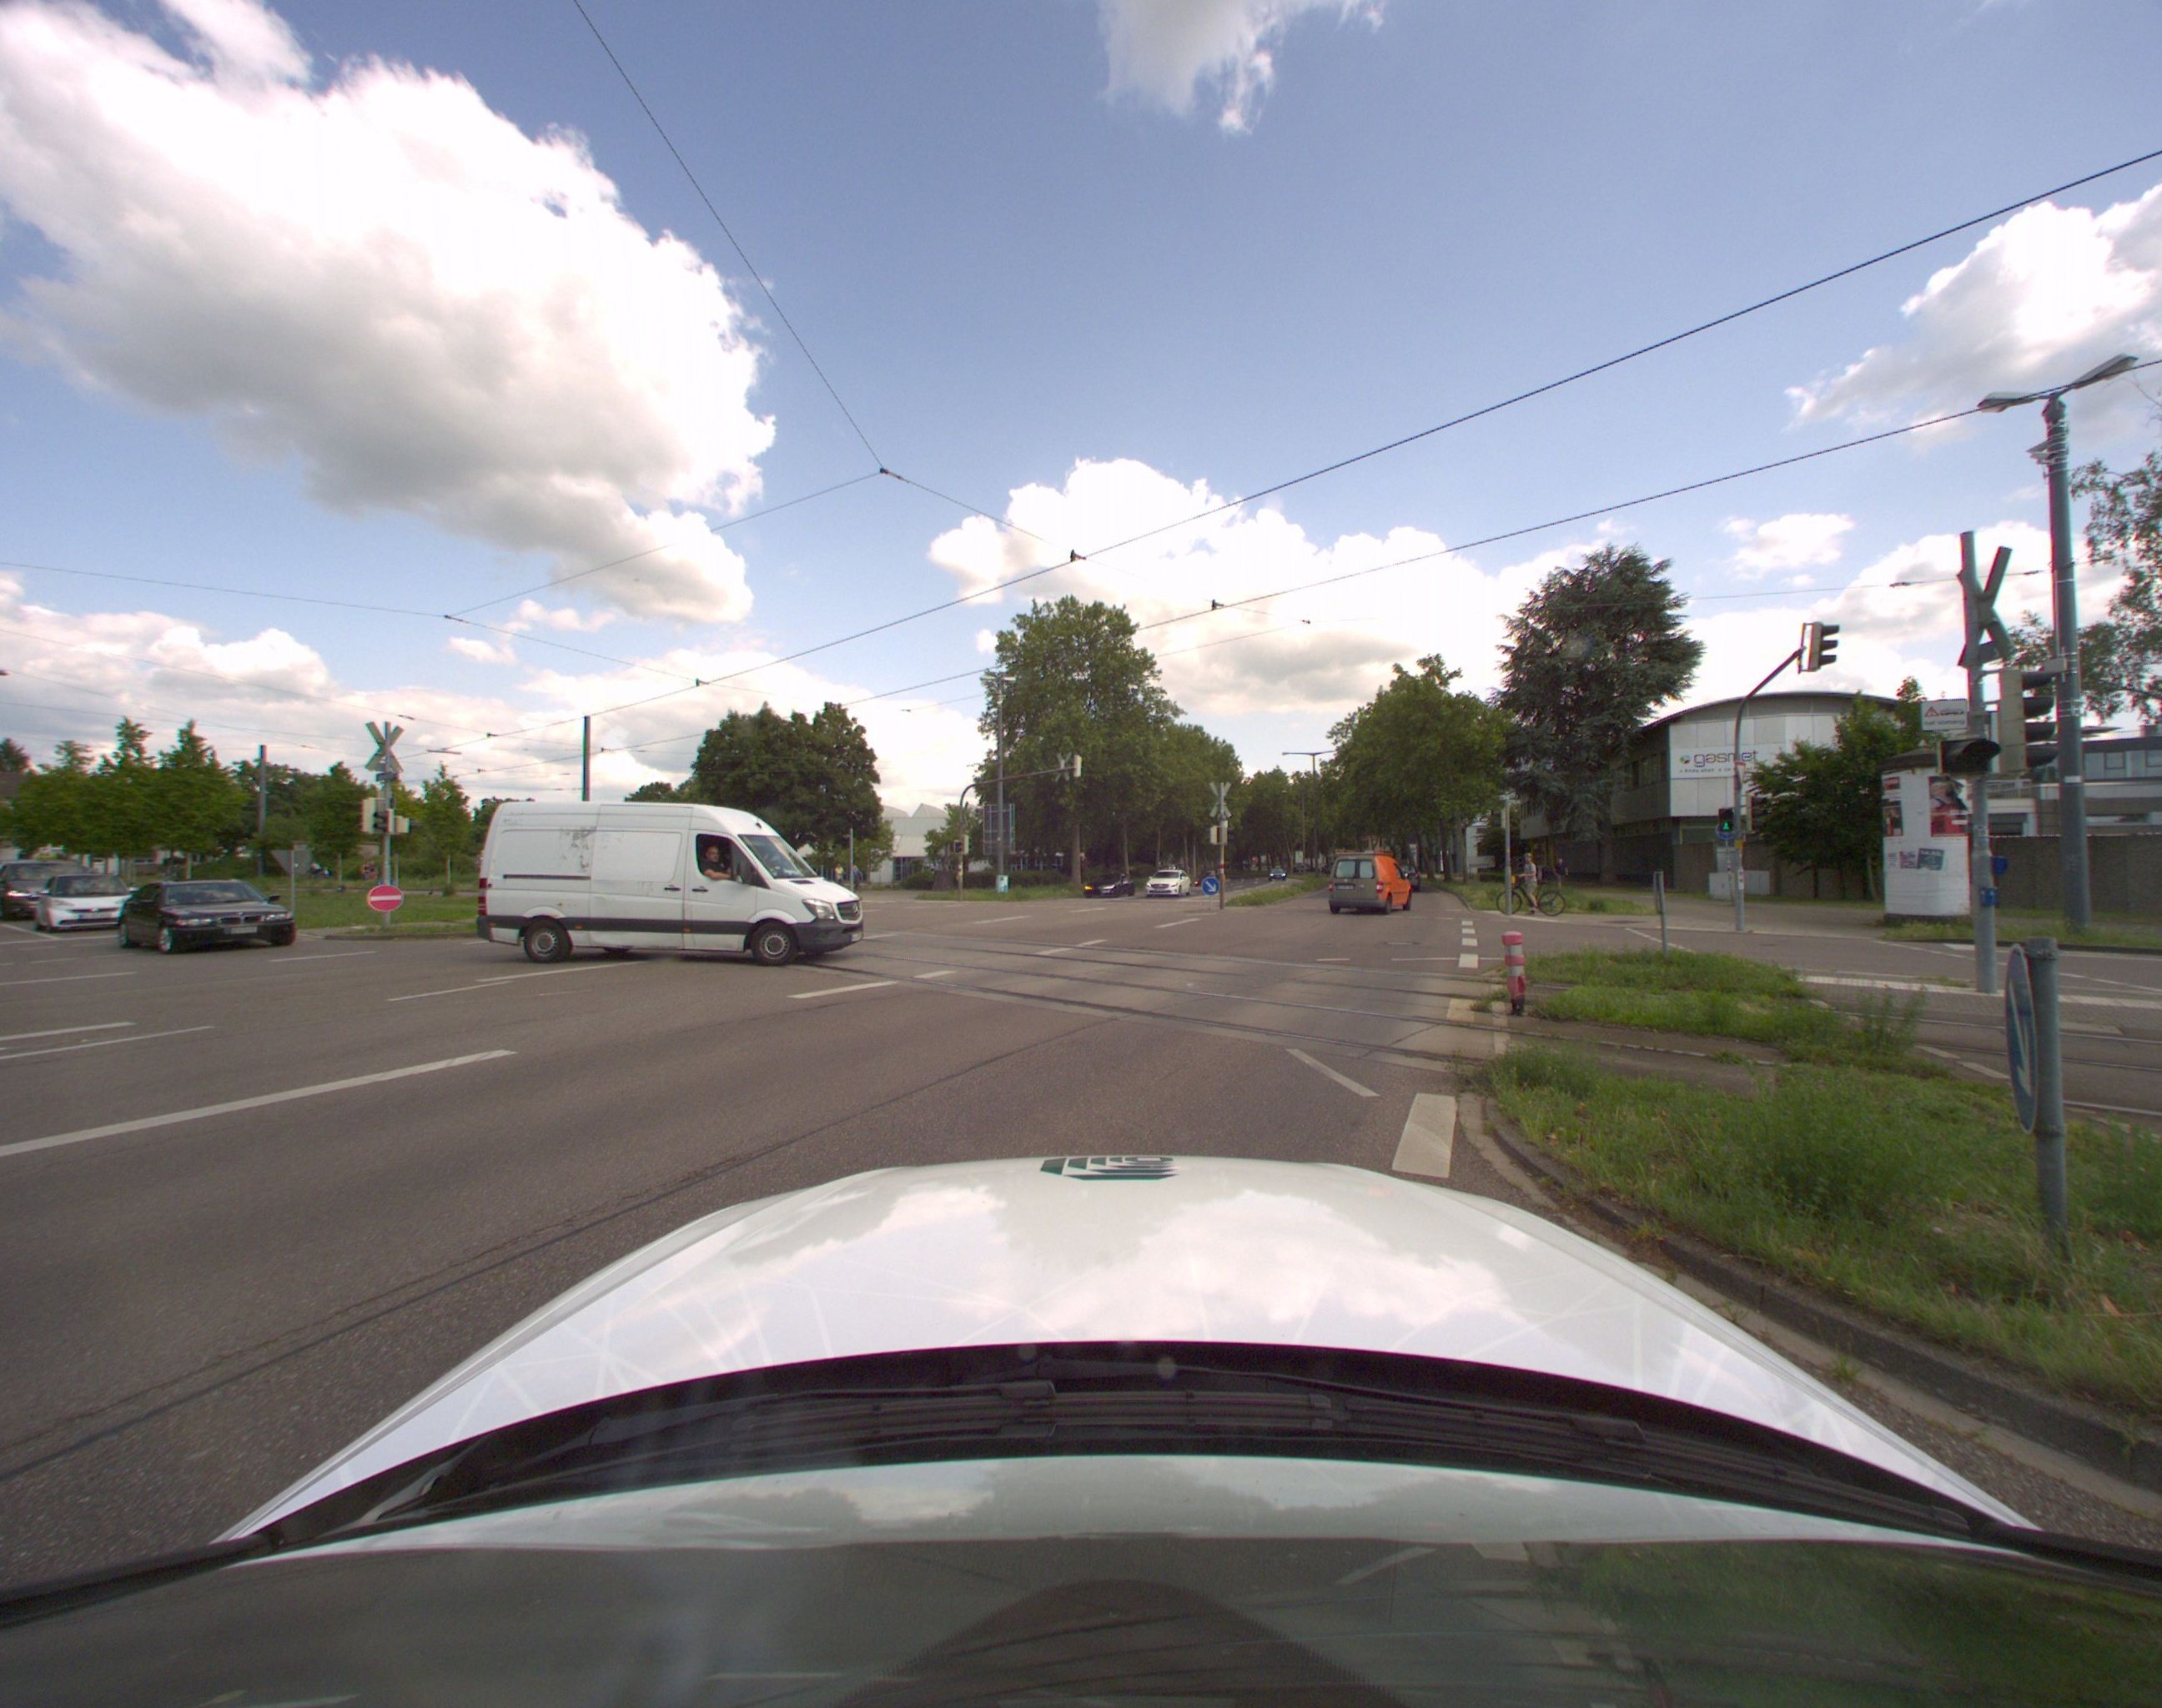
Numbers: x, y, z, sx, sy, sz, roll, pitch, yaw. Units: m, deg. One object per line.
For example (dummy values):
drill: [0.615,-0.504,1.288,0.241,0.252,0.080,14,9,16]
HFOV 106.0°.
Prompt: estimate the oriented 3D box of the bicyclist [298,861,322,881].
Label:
bicyclist: [-58.018,1.254,61.279,0.827,1.489,0.967,0,-1,15]

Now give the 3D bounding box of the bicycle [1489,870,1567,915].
bicycle: [12.957,1.090,23.622,1.927,1.235,0.544,-1,1,32]

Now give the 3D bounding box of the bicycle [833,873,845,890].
bicycle: [-16.291,1.825,54.787,0.564,1.130,1.368,0,-1,-27]

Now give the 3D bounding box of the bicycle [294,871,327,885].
bicycle: [-57.976,1.801,61.291,1.962,1.040,0.956,0,-1,16]

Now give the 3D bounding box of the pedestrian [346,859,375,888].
pedestrian: [-51.428,1.380,58.125,1.163,2.014,1.112,-1,-1,23]

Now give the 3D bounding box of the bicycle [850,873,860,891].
bicycle: [-14.403,1.785,51.901,0.561,1.130,1.374,1,-2,-13]

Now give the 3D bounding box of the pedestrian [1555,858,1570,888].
pedestrian: [25.263,0.993,42.723,0.615,1.569,0.562,-1,1,22]

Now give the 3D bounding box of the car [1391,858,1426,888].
car: [18.602,1.090,46.137,1.715,1.630,4.074,0,-1,24]

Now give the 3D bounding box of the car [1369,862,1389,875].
car: [40.159,1.911,109.852,1.980,1.574,4.013,-1,1,11]

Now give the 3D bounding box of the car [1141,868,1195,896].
car: [4.694,1.452,43.392,1.809,1.364,4.159,-1,-1,21]

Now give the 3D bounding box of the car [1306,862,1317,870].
car: [48.185,2.537,170.126,1.980,1.574,4.013,-1,1,11]

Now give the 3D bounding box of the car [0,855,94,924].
car: [-35.012,1.130,27.210,4.327,2.155,1.867,-1,-1,30]

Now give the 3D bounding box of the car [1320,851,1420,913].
car: [9.227,0.834,25.764,1.860,1.800,4.398,-1,-1,35]

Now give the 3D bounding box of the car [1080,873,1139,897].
car: [1.605,1.619,43.968,1.619,1.192,3.731,-1,-1,30]

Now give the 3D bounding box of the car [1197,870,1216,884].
car: [11.202,2.047,72.610,1.625,1.192,3.718,0,-1,9]

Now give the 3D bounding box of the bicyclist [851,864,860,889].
bicyclist: [-14.402,1.432,51.939,0.486,1.554,0.553,1,-3,-13]

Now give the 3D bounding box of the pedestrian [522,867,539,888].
pedestrian: [-36.419,1.575,53.883,0.743,1.354,0.655,-1,1,29]

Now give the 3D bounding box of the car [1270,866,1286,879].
car: [22.512,2.095,93.161,1.646,1.271,3.783,-1,1,11]

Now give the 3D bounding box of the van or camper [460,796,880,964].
van or camper: [-6.610,0.423,13.503,5.989,2.525,1.985,0,-1,4]

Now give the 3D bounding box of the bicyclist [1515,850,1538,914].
bicyclist: [12.930,0.803,23.636,0.538,1.809,0.544,-1,1,32]

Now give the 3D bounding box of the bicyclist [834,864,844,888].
bicyclist: [-16.265,1.482,54.743,0.488,1.554,0.551,2,-2,-27]

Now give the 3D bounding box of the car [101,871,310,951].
car: [-17.930,1.124,16.649,4.412,1.431,1.822,-2,-2,28]

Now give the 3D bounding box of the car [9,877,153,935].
car: [-27.842,1.387,22.659,4.327,1.431,1.823,-1,-1,30]
